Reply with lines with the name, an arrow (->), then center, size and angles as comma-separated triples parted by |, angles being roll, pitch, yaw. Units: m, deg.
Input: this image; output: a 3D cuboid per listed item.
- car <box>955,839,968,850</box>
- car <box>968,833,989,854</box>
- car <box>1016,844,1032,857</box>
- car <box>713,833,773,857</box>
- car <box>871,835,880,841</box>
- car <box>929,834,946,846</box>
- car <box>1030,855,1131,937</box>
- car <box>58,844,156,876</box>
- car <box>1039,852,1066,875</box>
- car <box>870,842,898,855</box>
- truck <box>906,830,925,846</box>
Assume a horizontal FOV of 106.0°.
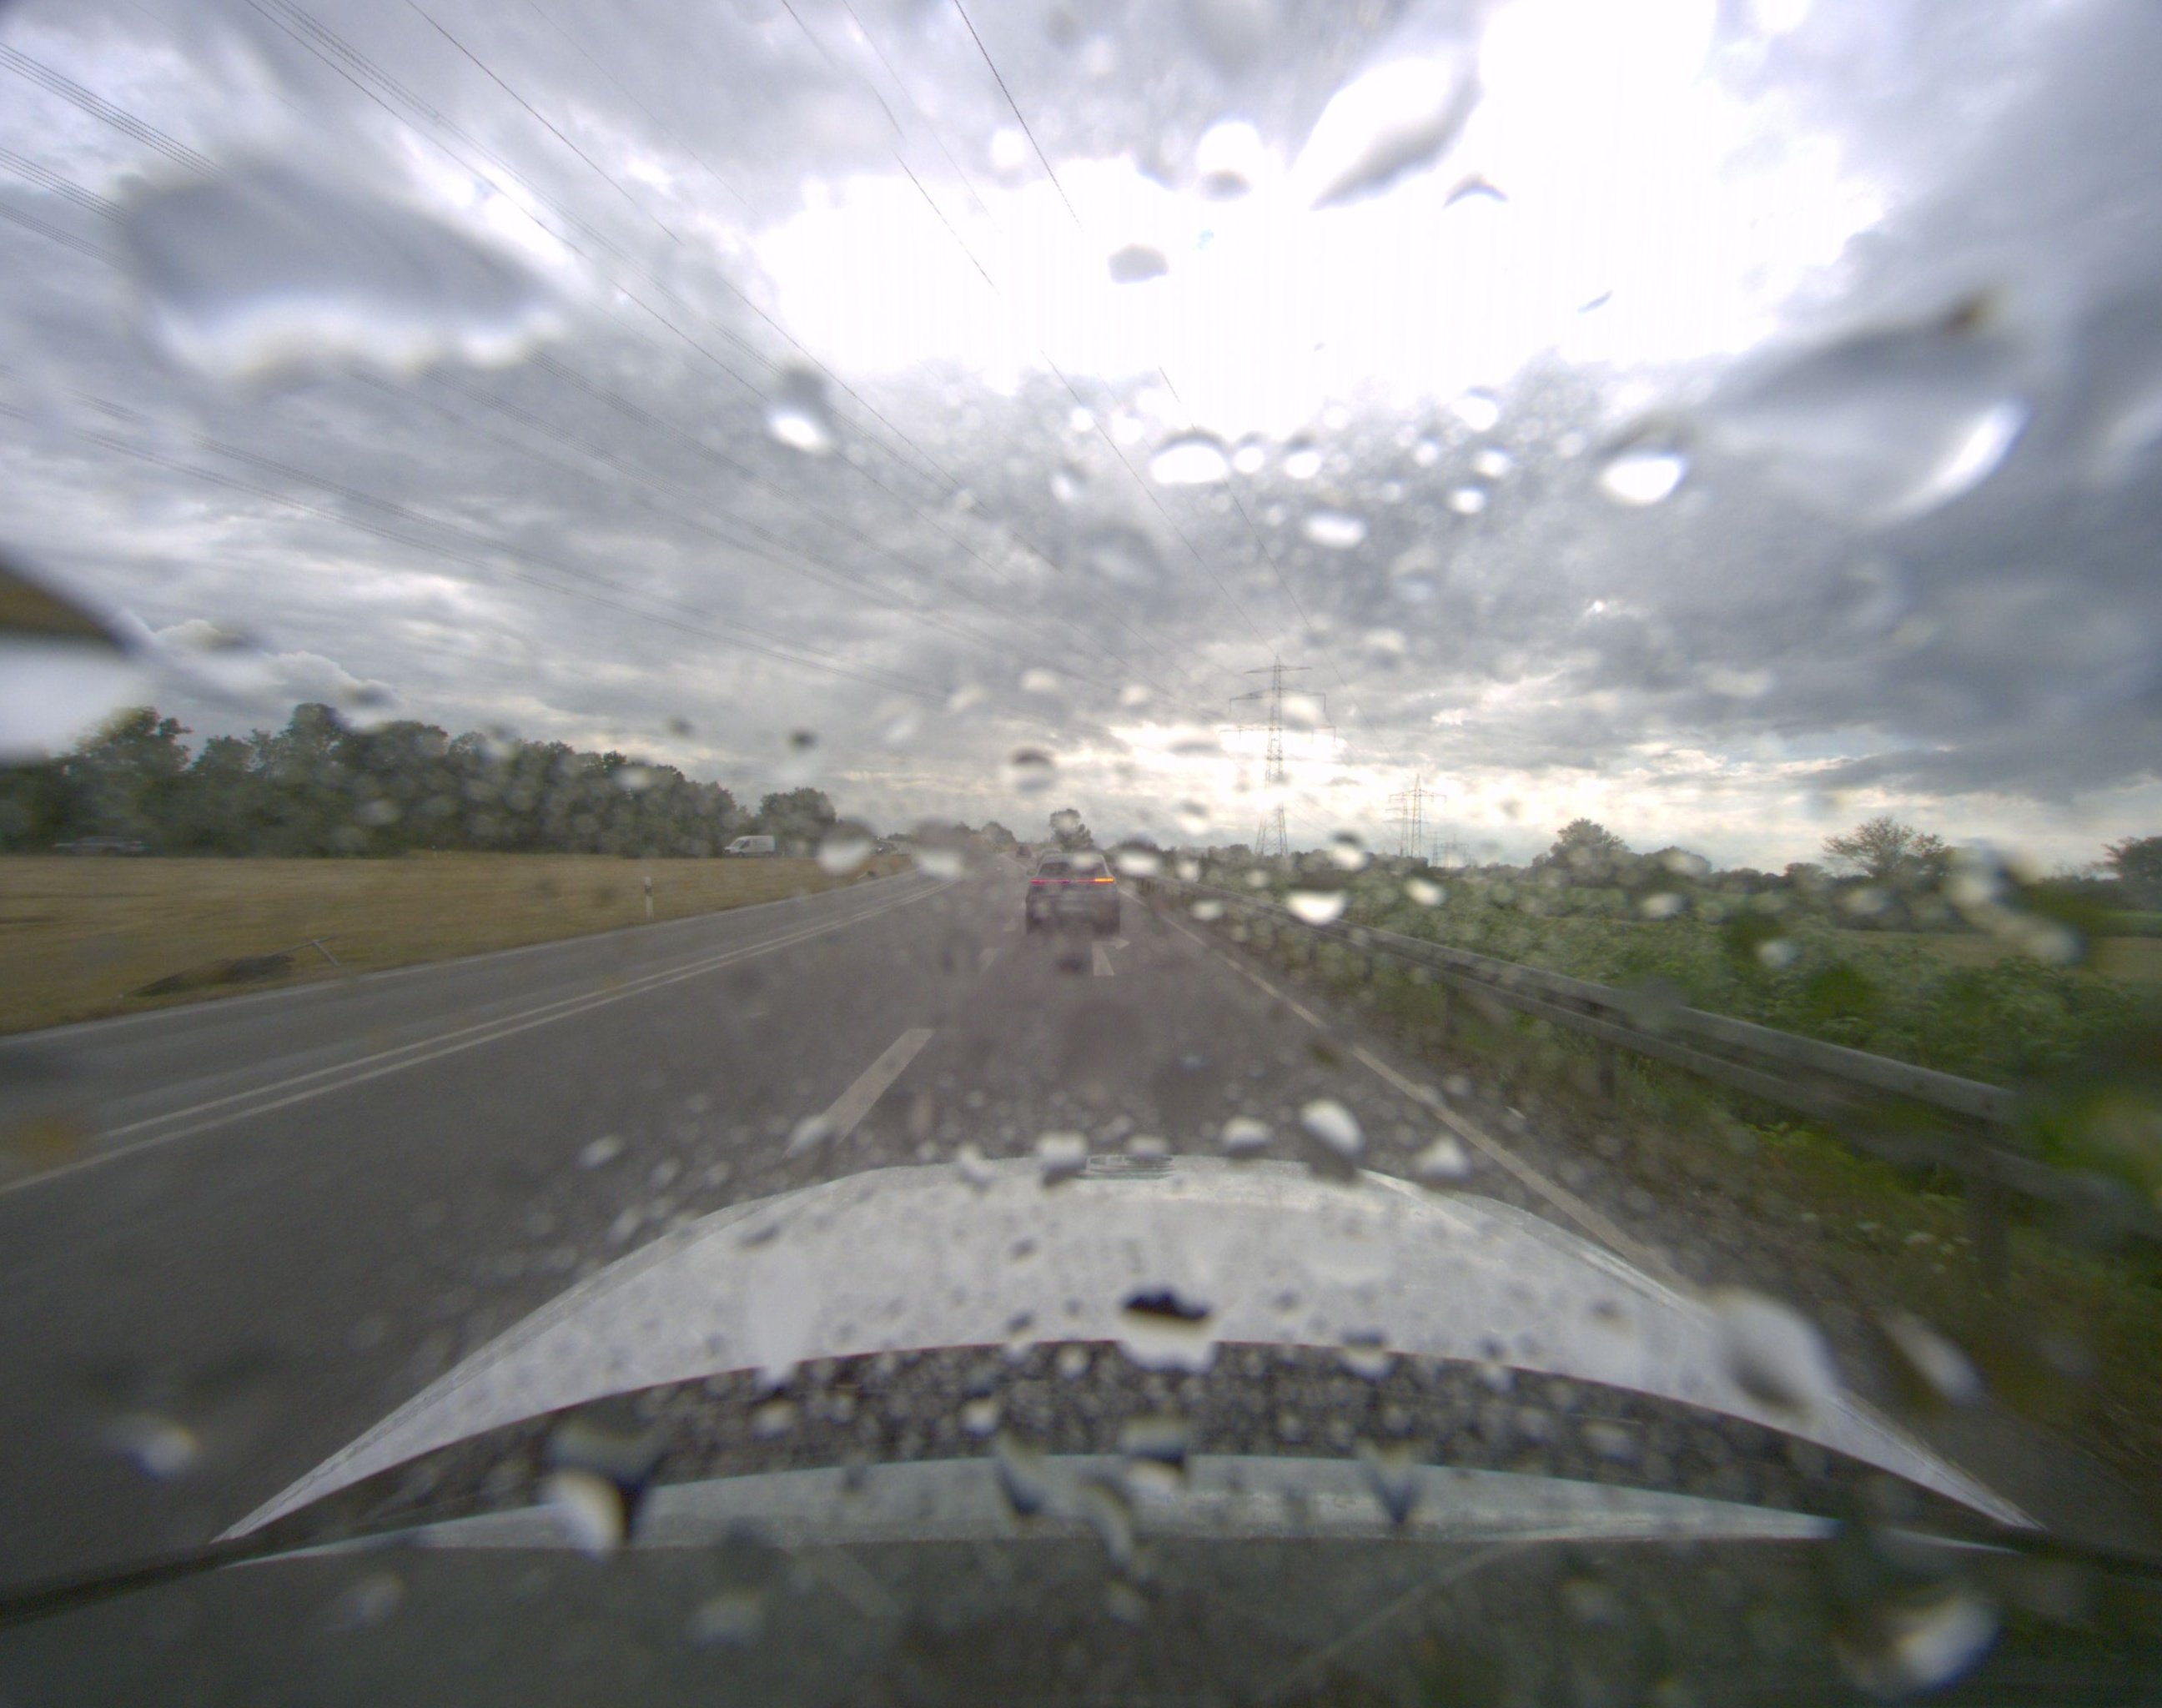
car -> -19.155, -1.523, 130.417 | 1.793, 1.687, 3.983 | 1, 1, -13
car -> -13.729, -1.408, 108.799 | 2.572, 2.725, 7.176 | 0, 1, -8
car -> -6.700, -0.435, 96.183 | 1.788, 1.541, 3.995 | 0, 0, -4
car -> -35.594, -0.900, 85.915 | 2.410, 2.391, 5.504 | 0, -1, 33
car -> -51.702, -3.998, 205.012 | 1.749, 1.365, 4.025 | -3, 0, -18
car -> -29.792, -2.823, 169.165 | 2.610, 2.250, 5.500 | 1, -1, -19
car -> -0.053, 0.742, 16.391 | 1.786, 1.441, 3.997 | 0, 0, -2
car -> -71.183, 0.437, 59.603 | 3.997, 2.014, 1.988 | 4, -2, -18
car -> -2.041, 0.627, 57.721 | 1.787, 1.441, 3.997 | 2, 1, -2
car -> -26.180, -0.726, 108.290 | 1.966, 1.604, 3.932 | 1, -1, 16
truck -> -39.403, -3.740, 193.765 | 3.058, 3.385, 7.588 | 1, -1, -22
